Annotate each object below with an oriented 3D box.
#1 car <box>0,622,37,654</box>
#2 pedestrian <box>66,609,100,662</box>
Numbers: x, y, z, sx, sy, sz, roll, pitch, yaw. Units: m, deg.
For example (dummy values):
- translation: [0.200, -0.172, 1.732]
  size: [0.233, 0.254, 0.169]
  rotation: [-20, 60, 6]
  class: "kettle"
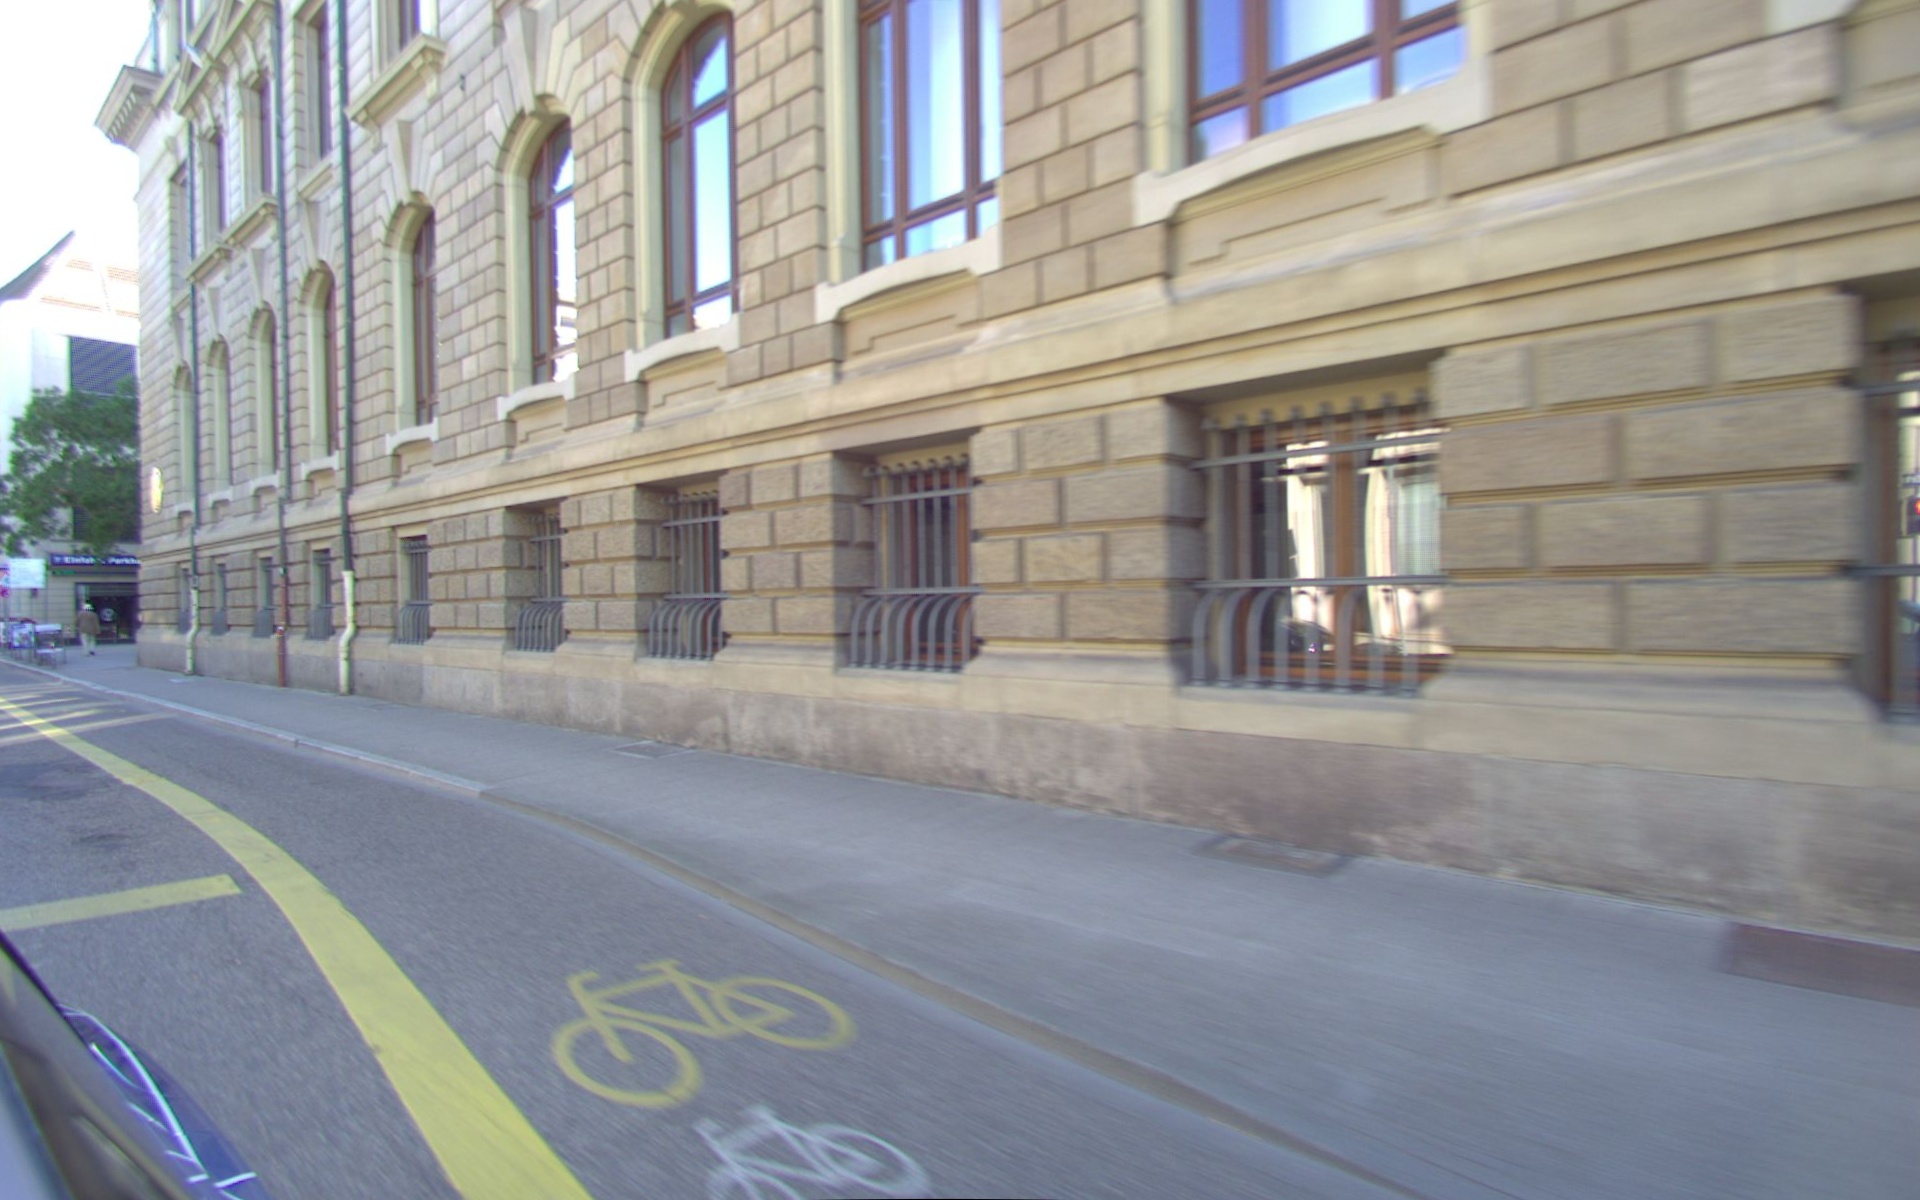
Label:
- translation: [-47.015, 1.857, 48.219]
  size: [1.626, 1.482, 4.229]
  rotation: [-2, 0, 29]
  class: "car"
- translation: [-30.453, 1.223, 35.152]
  size: [0.752, 1.793, 0.624]
  rotation: [-2, 0, -31]
  class: "pedestrian"
